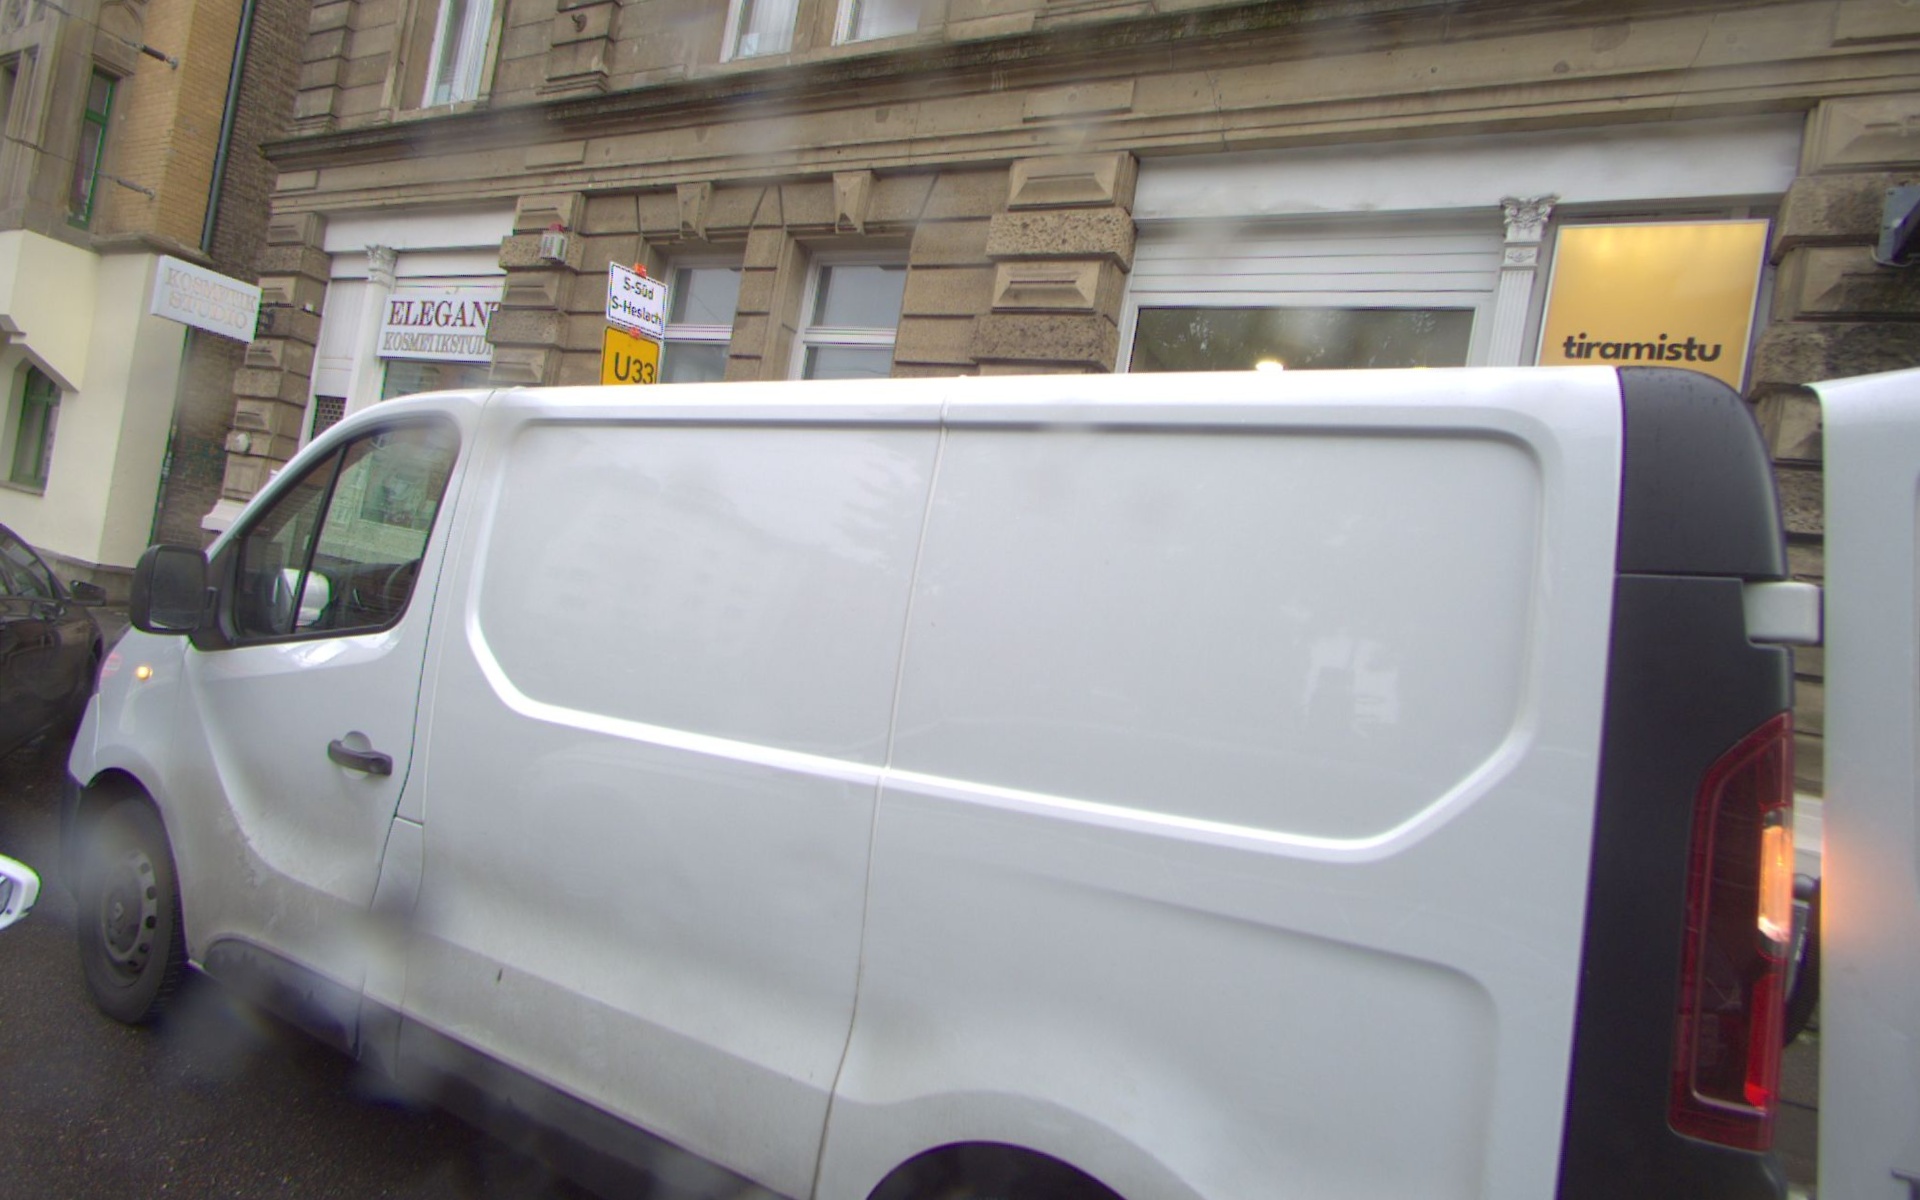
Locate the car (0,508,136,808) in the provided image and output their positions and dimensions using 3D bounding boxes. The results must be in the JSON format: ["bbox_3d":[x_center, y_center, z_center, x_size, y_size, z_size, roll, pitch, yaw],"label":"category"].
[{"bbox_3d":[-5.647,0.128,4.912,1.883,1.406,3.967,9,-2,-32],"label":"car"}]

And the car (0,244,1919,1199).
[{"bbox_3d":[-0.549,0.493,2.932,4.606,1.958,1.926,7,-2,30],"label":"car"}]
